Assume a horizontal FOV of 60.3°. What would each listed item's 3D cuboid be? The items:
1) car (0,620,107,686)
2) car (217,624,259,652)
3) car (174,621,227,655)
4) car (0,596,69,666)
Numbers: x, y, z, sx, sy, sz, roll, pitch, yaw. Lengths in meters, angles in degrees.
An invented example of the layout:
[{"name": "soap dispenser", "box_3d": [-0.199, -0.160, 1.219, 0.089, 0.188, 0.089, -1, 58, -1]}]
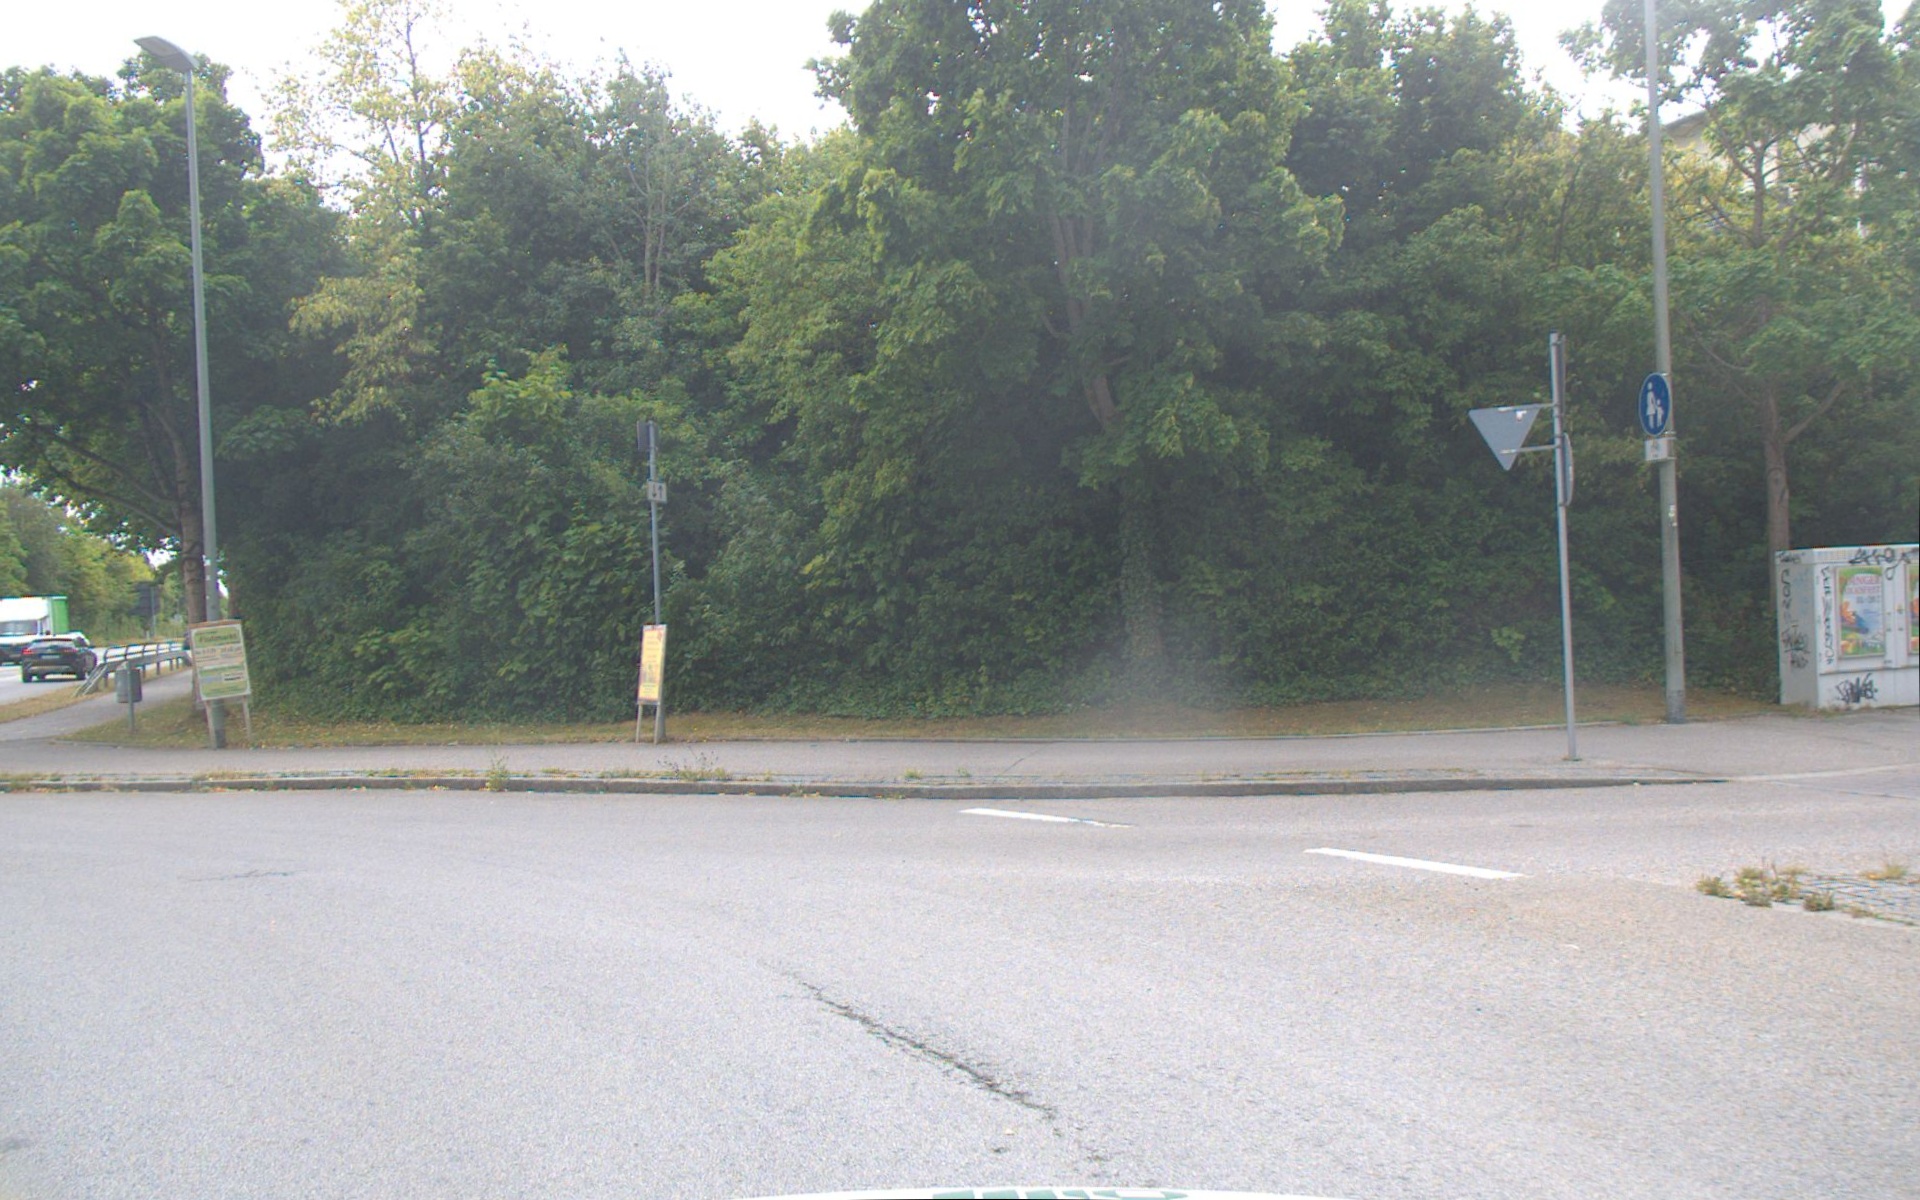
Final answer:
[{"name": "car", "box_3d": [-30.688, 1.739, 56.013, 2.478, 1.981, 5.675, -3, 1, -21]}, {"name": "car", "box_3d": [-57.000, 2.973, 130.669, 2.476, 1.981, 5.680, -3, 1, -19]}, {"name": "car", "box_3d": [-49.680, 2.479, 108.259, 2.476, 1.981, 5.680, -3, 1, -19]}, {"name": "car", "box_3d": [-47.329, 1.558, 83.168, 3.125, 3.260, 7.588, -3, 1, -20]}]
